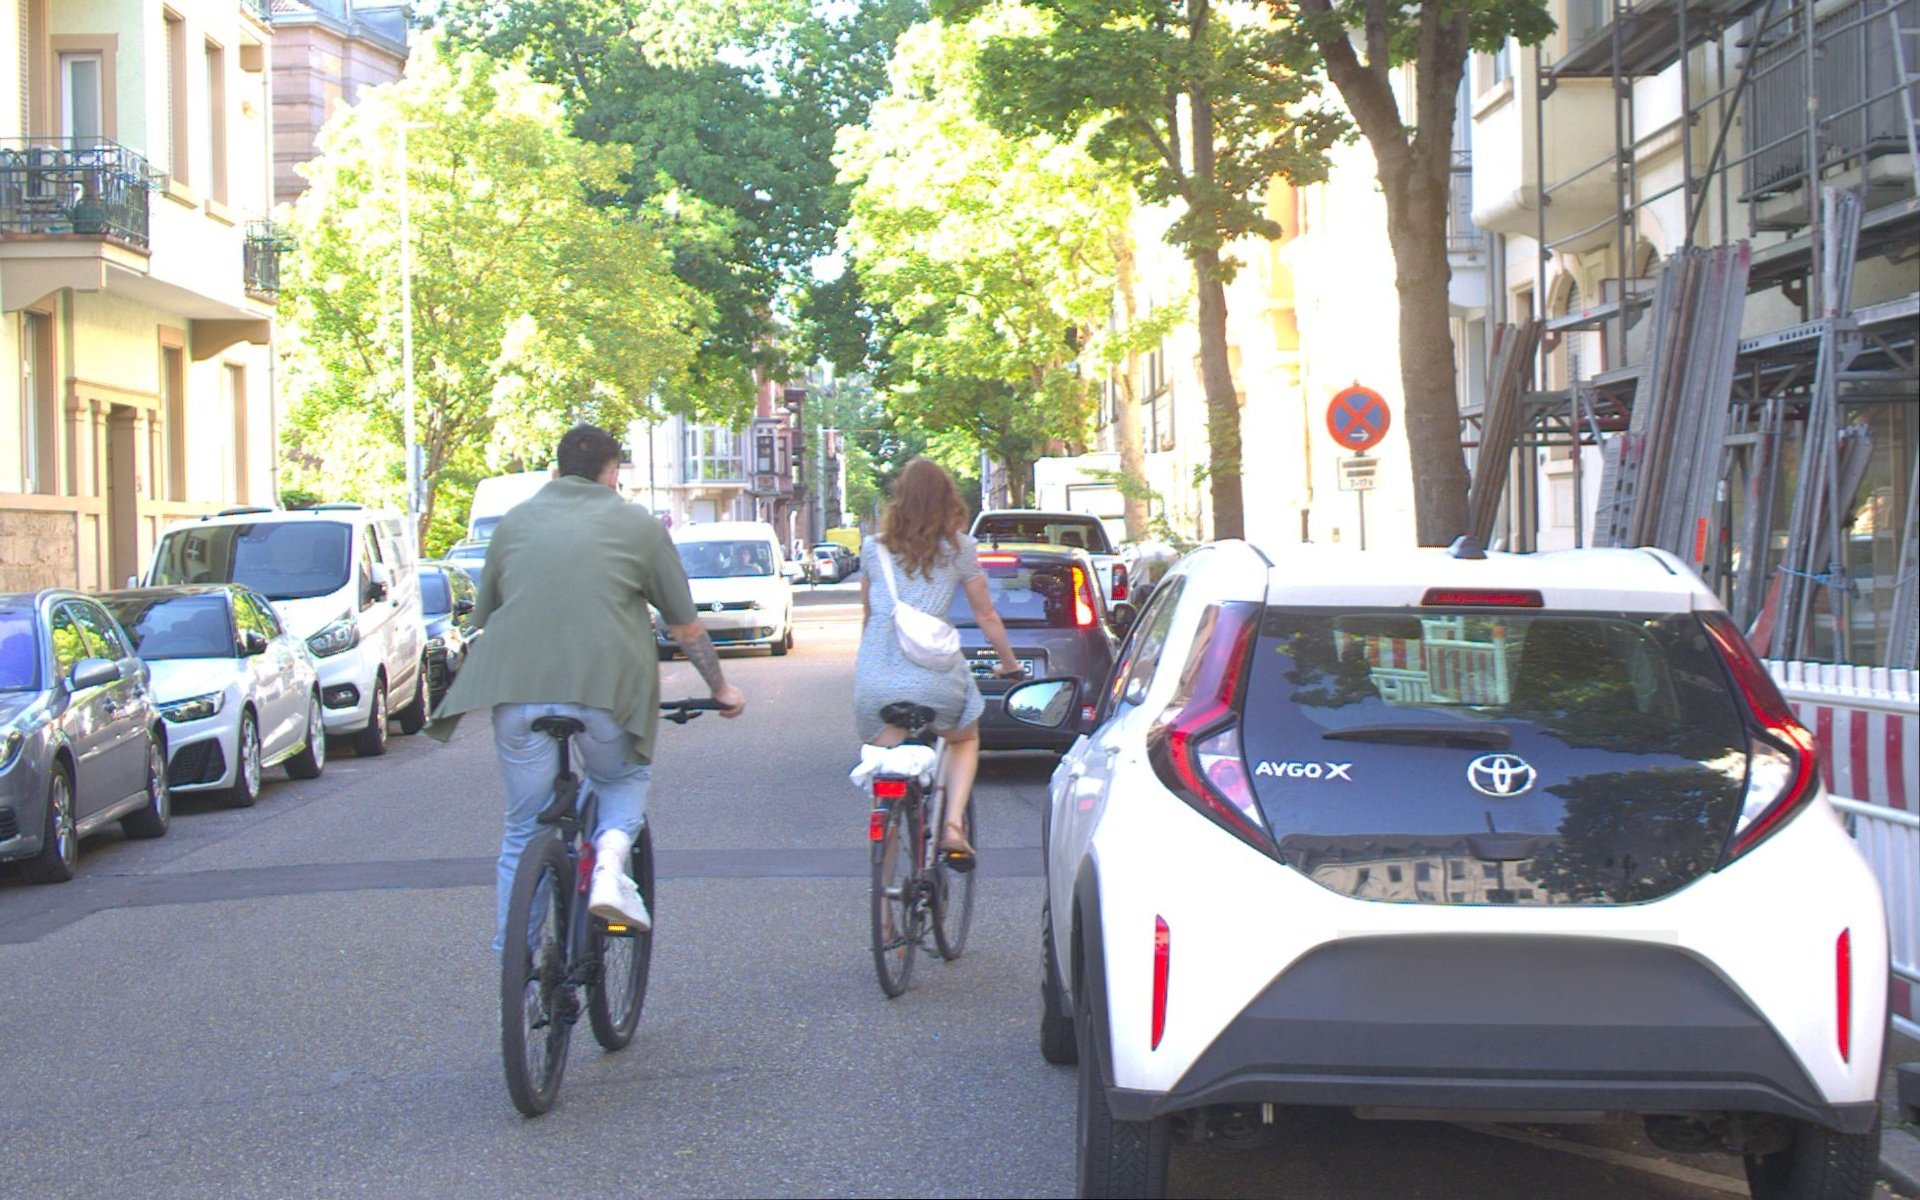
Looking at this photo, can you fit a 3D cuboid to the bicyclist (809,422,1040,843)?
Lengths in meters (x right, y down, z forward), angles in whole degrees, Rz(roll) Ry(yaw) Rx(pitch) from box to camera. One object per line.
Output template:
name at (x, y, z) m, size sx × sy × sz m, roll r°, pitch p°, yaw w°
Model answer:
bicyclist at (-0.111, 0.131, 11.846) m, size 0.623 × 1.376 × 0.867 m, roll -2°, pitch -3°, yaw 9°

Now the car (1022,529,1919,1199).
car at (1.060, 0.601, 8.620) m, size 1.675 × 1.540 × 3.404 m, roll 0°, pitch 1°, yaw -1°

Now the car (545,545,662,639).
car at (-6.283, -0.172, 60.957) m, size 1.710 × 1.555 × 4.000 m, roll -1°, pitch 1°, yaw -1°

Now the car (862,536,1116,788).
car at (0.198, 0.349, 22.873) m, size 1.556 × 1.527 × 3.487 m, roll 0°, pitch 1°, yaw 1°

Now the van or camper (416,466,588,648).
van or camper at (-6.757, -0.661, 51.197) m, size 1.993 × 2.544 × 5.023 m, roll -1°, pitch 1°, yaw -2°

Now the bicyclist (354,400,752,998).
bicyclist at (-1.105, 0.278, 9.516) m, size 0.882 × 1.556 × 0.868 m, roll -2°, pitch -2°, yaw 7°

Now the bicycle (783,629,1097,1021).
bicycle at (-0.022, 0.722, 12.030) m, size 0.839 × 1.145 × 2.232 m, roll 0°, pitch 2°, yaw 7°

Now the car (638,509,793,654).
car at (-3.317, -0.274, 47.312) m, size 1.782 × 1.854 × 4.199 m, roll -1°, pitch 1°, yaw 0°

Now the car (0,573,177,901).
car at (-5.397, 0.676, 17.658) m, size 1.978 × 1.450 × 4.114 m, roll -4°, pitch 1°, yaw -4°

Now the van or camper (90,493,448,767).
van or camper at (-5.589, 0.181, 28.450) m, size 1.993 × 2.007 × 4.912 m, roll -2°, pitch 1°, yaw -1°

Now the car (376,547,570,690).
car at (-5.544, 0.168, 39.555) m, size 1.710 × 1.499 × 4.000 m, roll -1°, pitch 1°, yaw -1°

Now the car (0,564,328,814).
car at (-5.361, 0.526, 22.760) m, size 1.686 × 1.448 × 3.711 m, roll -2°, pitch 1°, yaw -1°

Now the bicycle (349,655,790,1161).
bicycle at (-1.022, 0.783, 9.618) m, size 0.839 × 1.145 × 2.232 m, roll -1°, pitch 2°, yaw 3°
